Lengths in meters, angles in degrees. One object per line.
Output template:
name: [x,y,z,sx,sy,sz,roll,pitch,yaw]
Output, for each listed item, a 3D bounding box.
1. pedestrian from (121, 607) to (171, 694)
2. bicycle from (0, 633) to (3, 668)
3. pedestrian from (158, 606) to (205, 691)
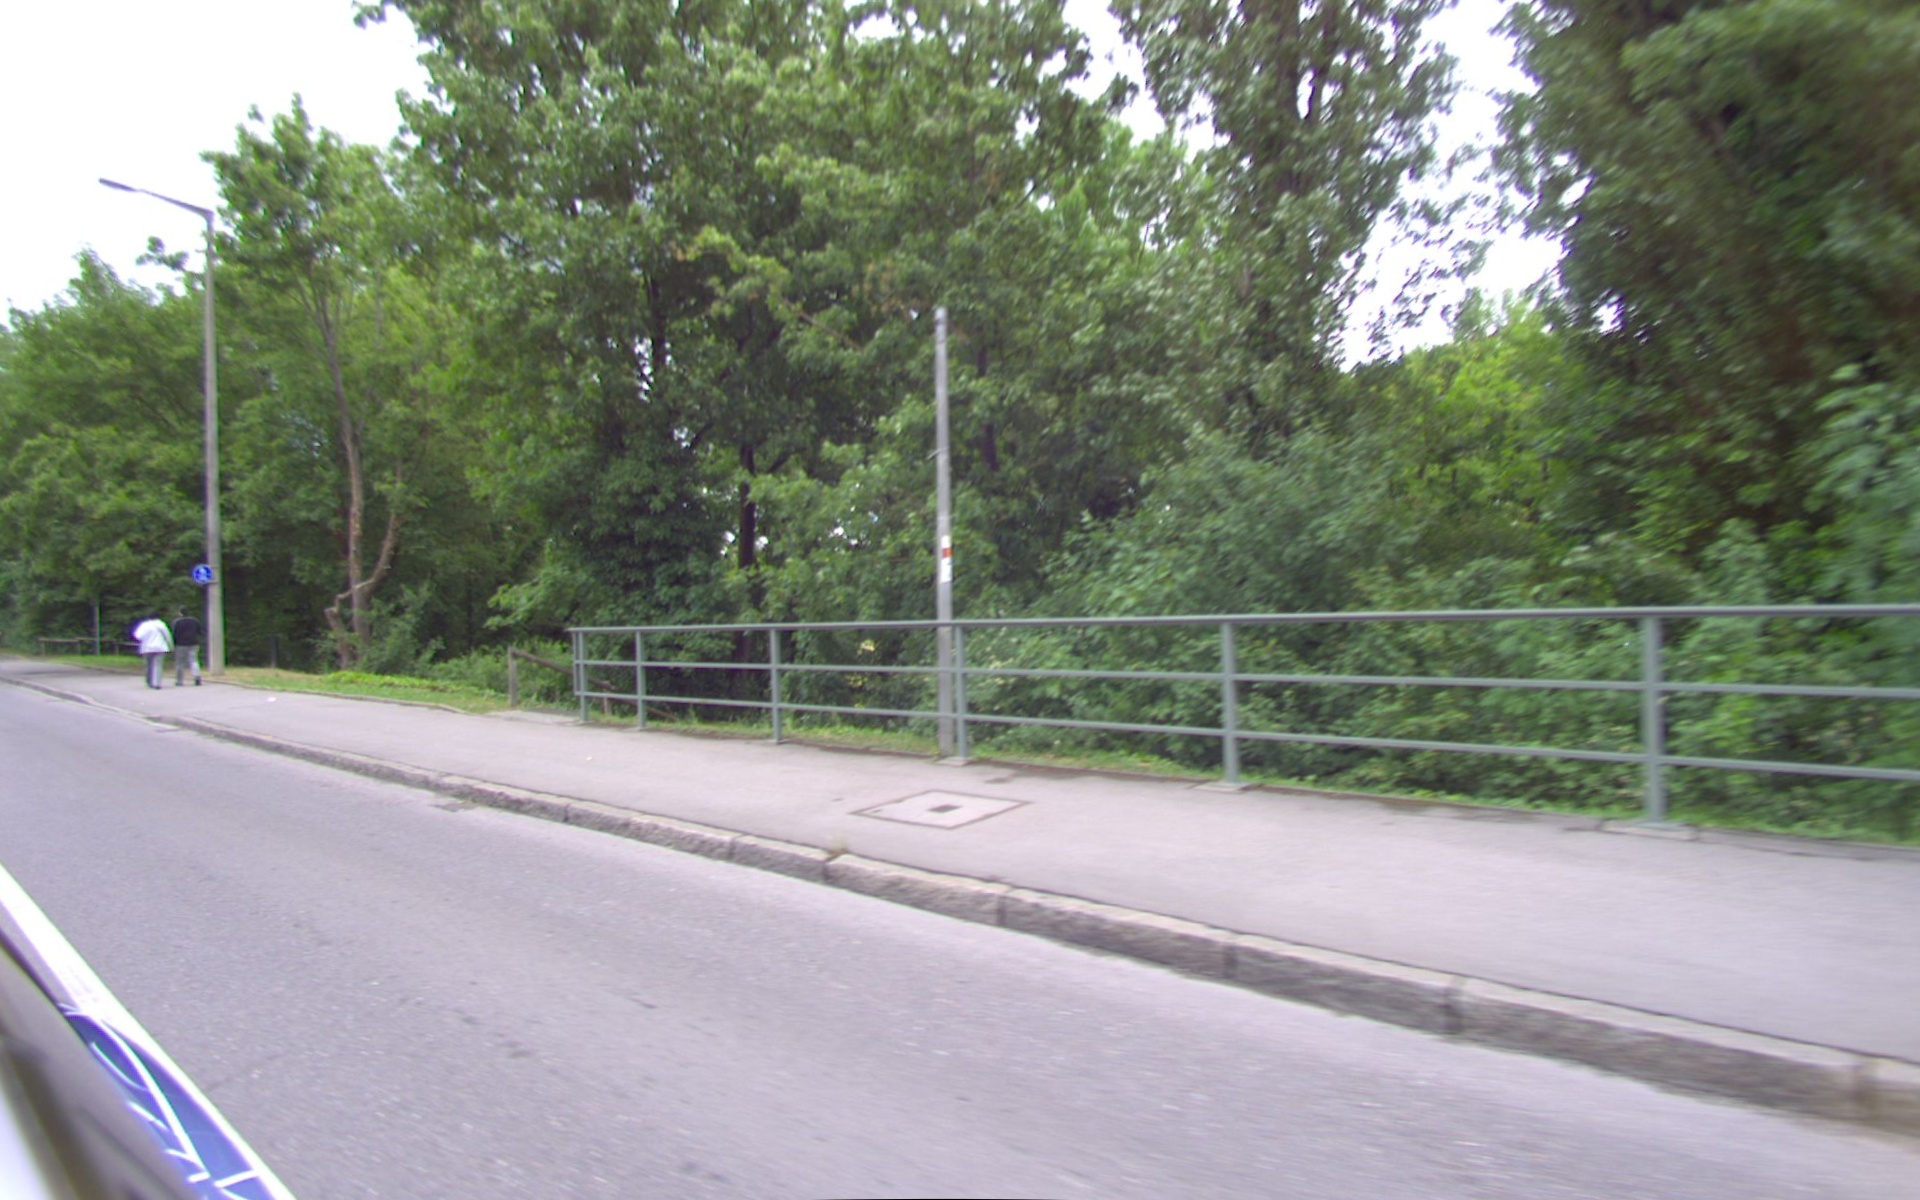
pedestrian: [-17.511,1.079,21.772,0.857,1.778,0.546,-2,3,39]
bicycle: [-38.394,1.986,39.783,2.276,1.341,0.692,0,1,36]
pedestrian: [-17.212,1.065,22.370,0.821,1.817,0.581,-2,0,39]
